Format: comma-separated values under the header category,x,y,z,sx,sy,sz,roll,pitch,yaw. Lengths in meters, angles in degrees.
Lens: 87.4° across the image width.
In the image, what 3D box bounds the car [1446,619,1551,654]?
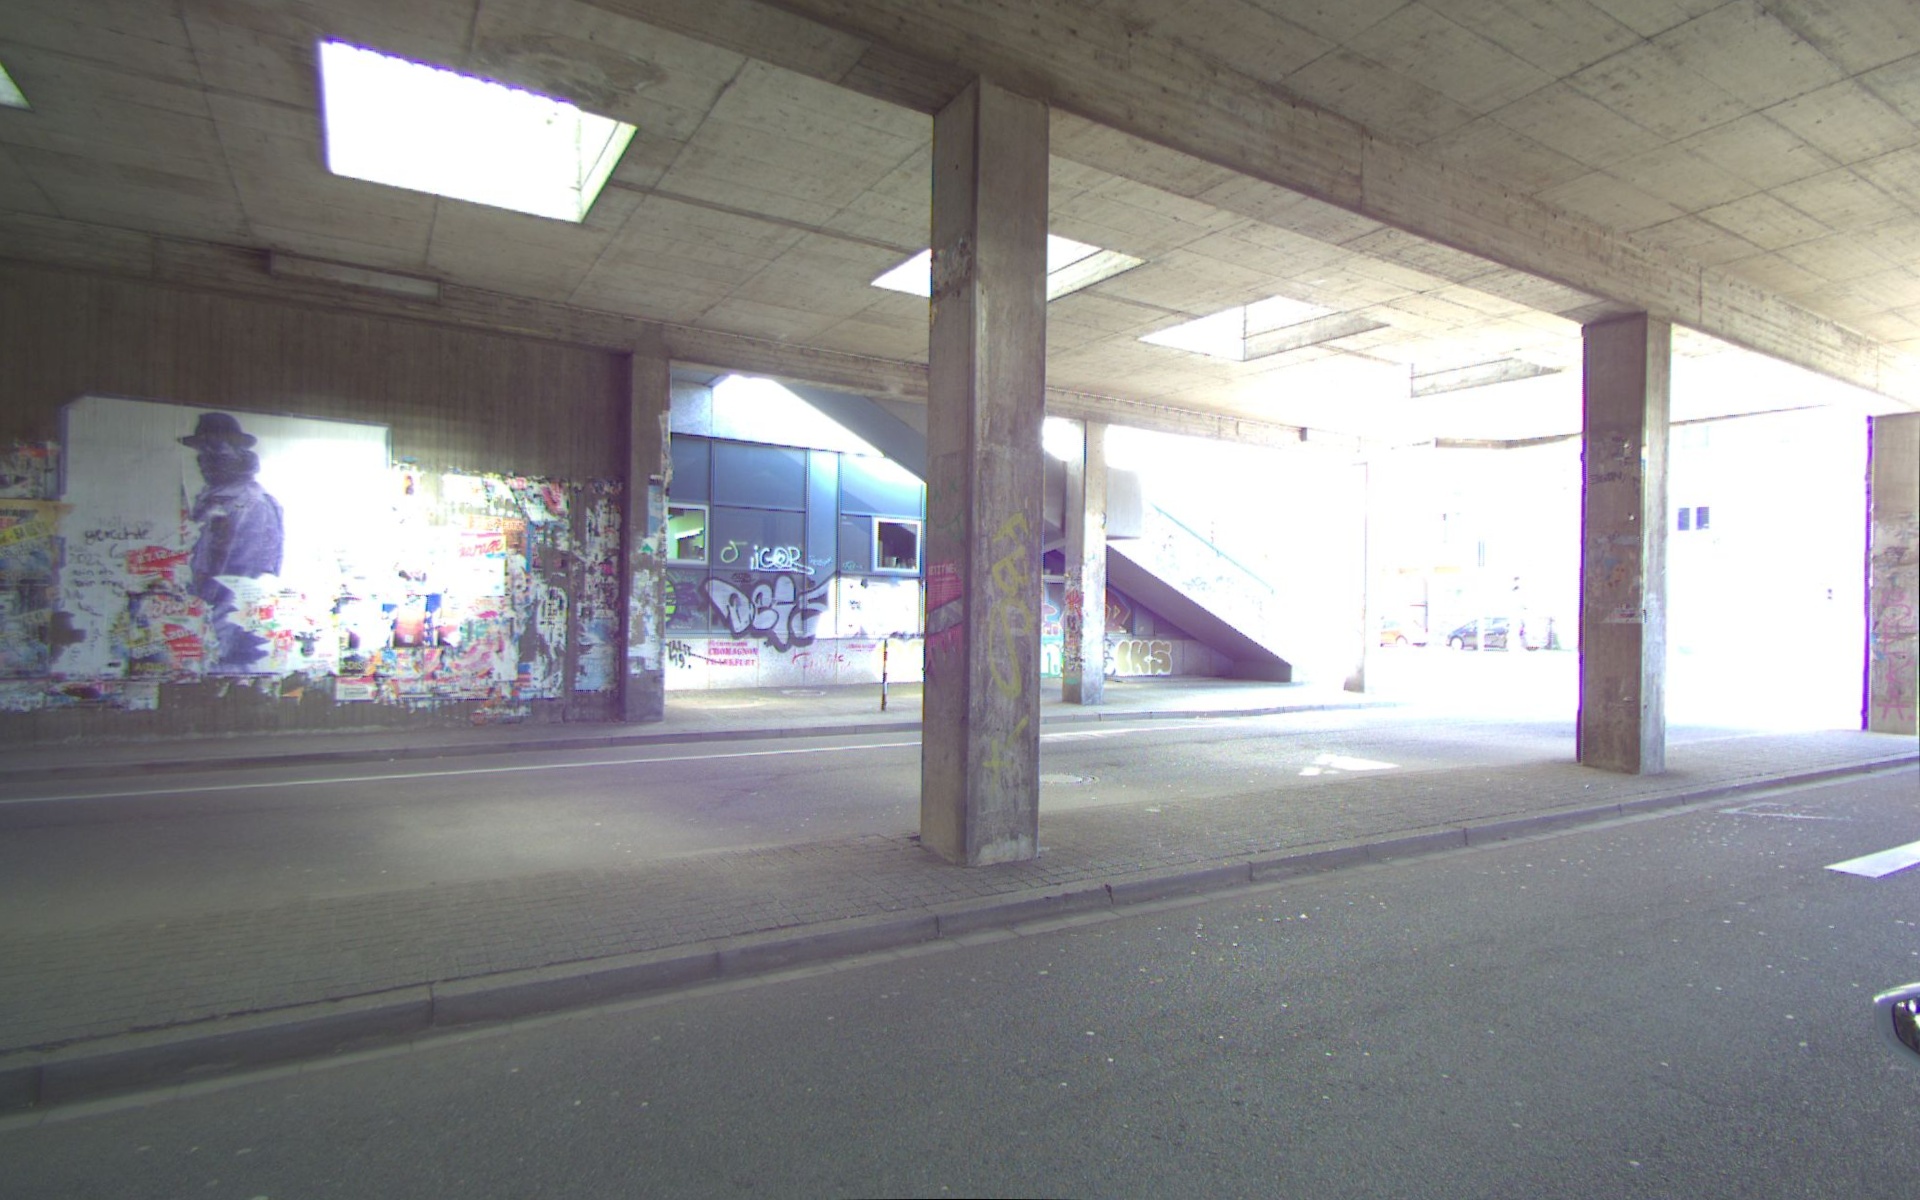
category,x,y,z,sx,sy,sz,roll,pitch,yaw
car,25.479,1.714,47.660,1.718,1.495,4.089,2,-1,-31

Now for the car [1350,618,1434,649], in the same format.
category,x,y,z,sx,sy,sz,roll,pitch,yaw
car,22.567,1.733,52.616,1.730,1.495,3.741,2,-1,-31
